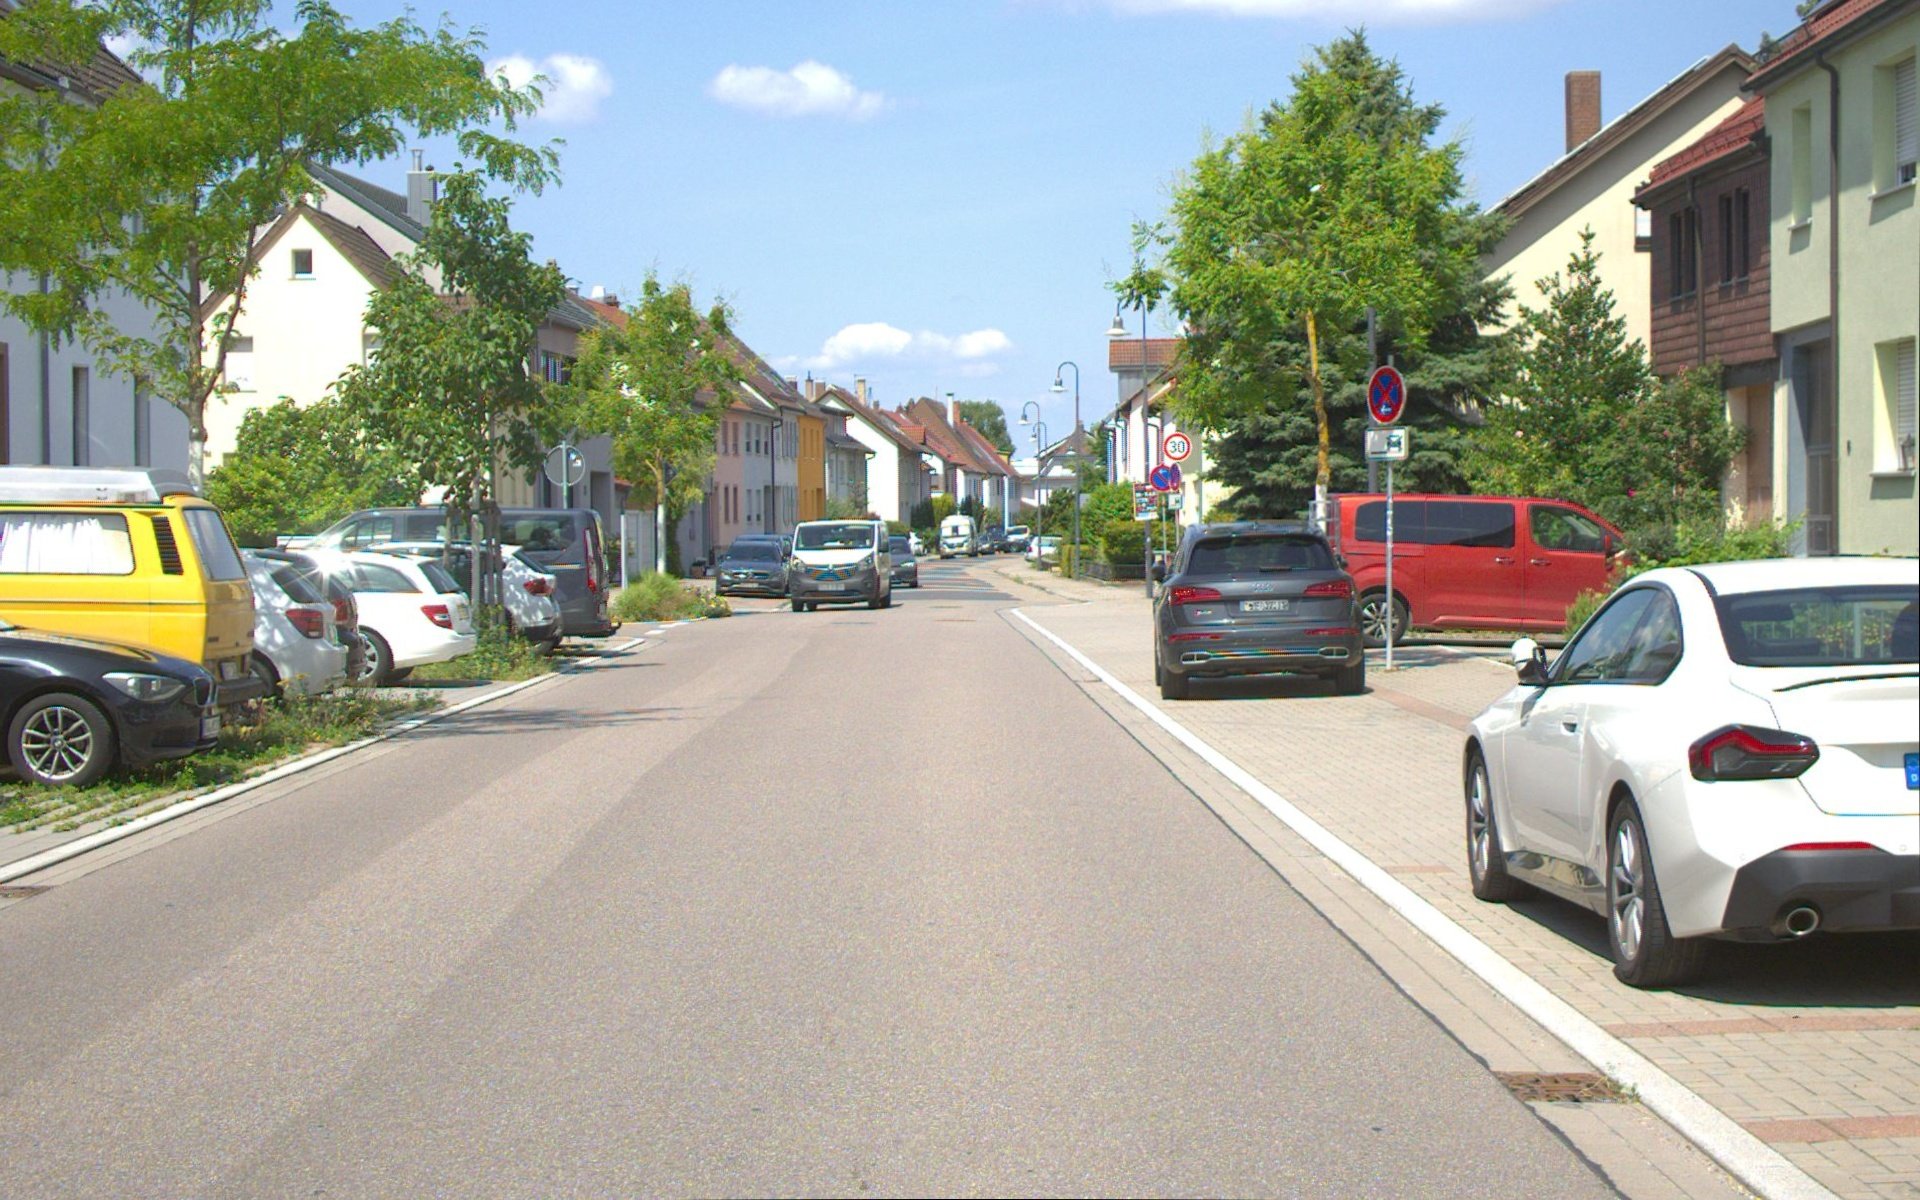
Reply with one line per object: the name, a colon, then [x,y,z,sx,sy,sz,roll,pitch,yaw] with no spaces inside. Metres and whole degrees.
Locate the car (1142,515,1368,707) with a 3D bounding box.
car: [2.749,0.045,32.945,1.864,1.630,4.446,-2,1,2]

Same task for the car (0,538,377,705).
car: [-7.383,0.189,31.793,3.878,1.463,1.659,1,0,-8]

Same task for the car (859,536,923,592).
car: [-1.979,-1.036,98.332,1.762,1.517,4.049,-2,1,-1]

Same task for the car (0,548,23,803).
car: [-7.352,0.412,19.194,3.791,1.454,1.755,1,1,-3]

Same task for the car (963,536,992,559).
car: [1.201,-3.552,232.308,1.692,1.498,3.771,1,0,3]

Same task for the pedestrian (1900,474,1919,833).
pedestrian: [4.935,0.260,16.670,0.557,1.743,0.673,-1,0,0]

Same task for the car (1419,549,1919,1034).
car: [2.990,0.544,12.646,1.832,1.460,4.520,0,1,-2]

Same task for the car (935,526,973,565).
car: [-0.354,-3.335,210.389,2.045,2.304,3.771,1,0,3]

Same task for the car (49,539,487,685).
car: [-7.365,0.121,36.832,4.295,1.463,1.774,1,0,2]

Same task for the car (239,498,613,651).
car: [-7.140,-0.340,46.332,4.700,1.916,1.938,1,0,0]

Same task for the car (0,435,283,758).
car: [-7.247,-0.061,24.340,4.508,2.170,1.925,1,1,0]

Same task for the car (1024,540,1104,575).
car: [4.716,-1.928,156.235,3.523,1.459,1.628,1,0,1]

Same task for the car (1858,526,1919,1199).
car: [2.885,0.633,5.641,1.767,1.524,4.007,0,1,0]

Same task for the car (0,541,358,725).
car: [-7.144,0.257,28.817,4.071,1.463,1.754,1,1,-8]

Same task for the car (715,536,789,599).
car: [-5.516,-0.875,91.521,1.816,1.428,4.140,4,2,-3]

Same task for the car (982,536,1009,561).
car: [2.487,-3.570,239.776,1.692,1.654,3.771,1,0,3]

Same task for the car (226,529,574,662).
car: [-7.064,-0.062,43.710,4.182,1.563,1.774,1,0,-4]

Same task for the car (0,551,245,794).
car: [-6.732,0.410,21.806,4.010,1.454,1.755,1,1,0]

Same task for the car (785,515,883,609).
car: [-2.689,-0.799,74.115,2.022,1.943,4.899,0,0,-1]

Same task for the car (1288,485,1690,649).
car: [6.509,-0.401,42.652,4.618,1.887,2.021,1,0,-1]
